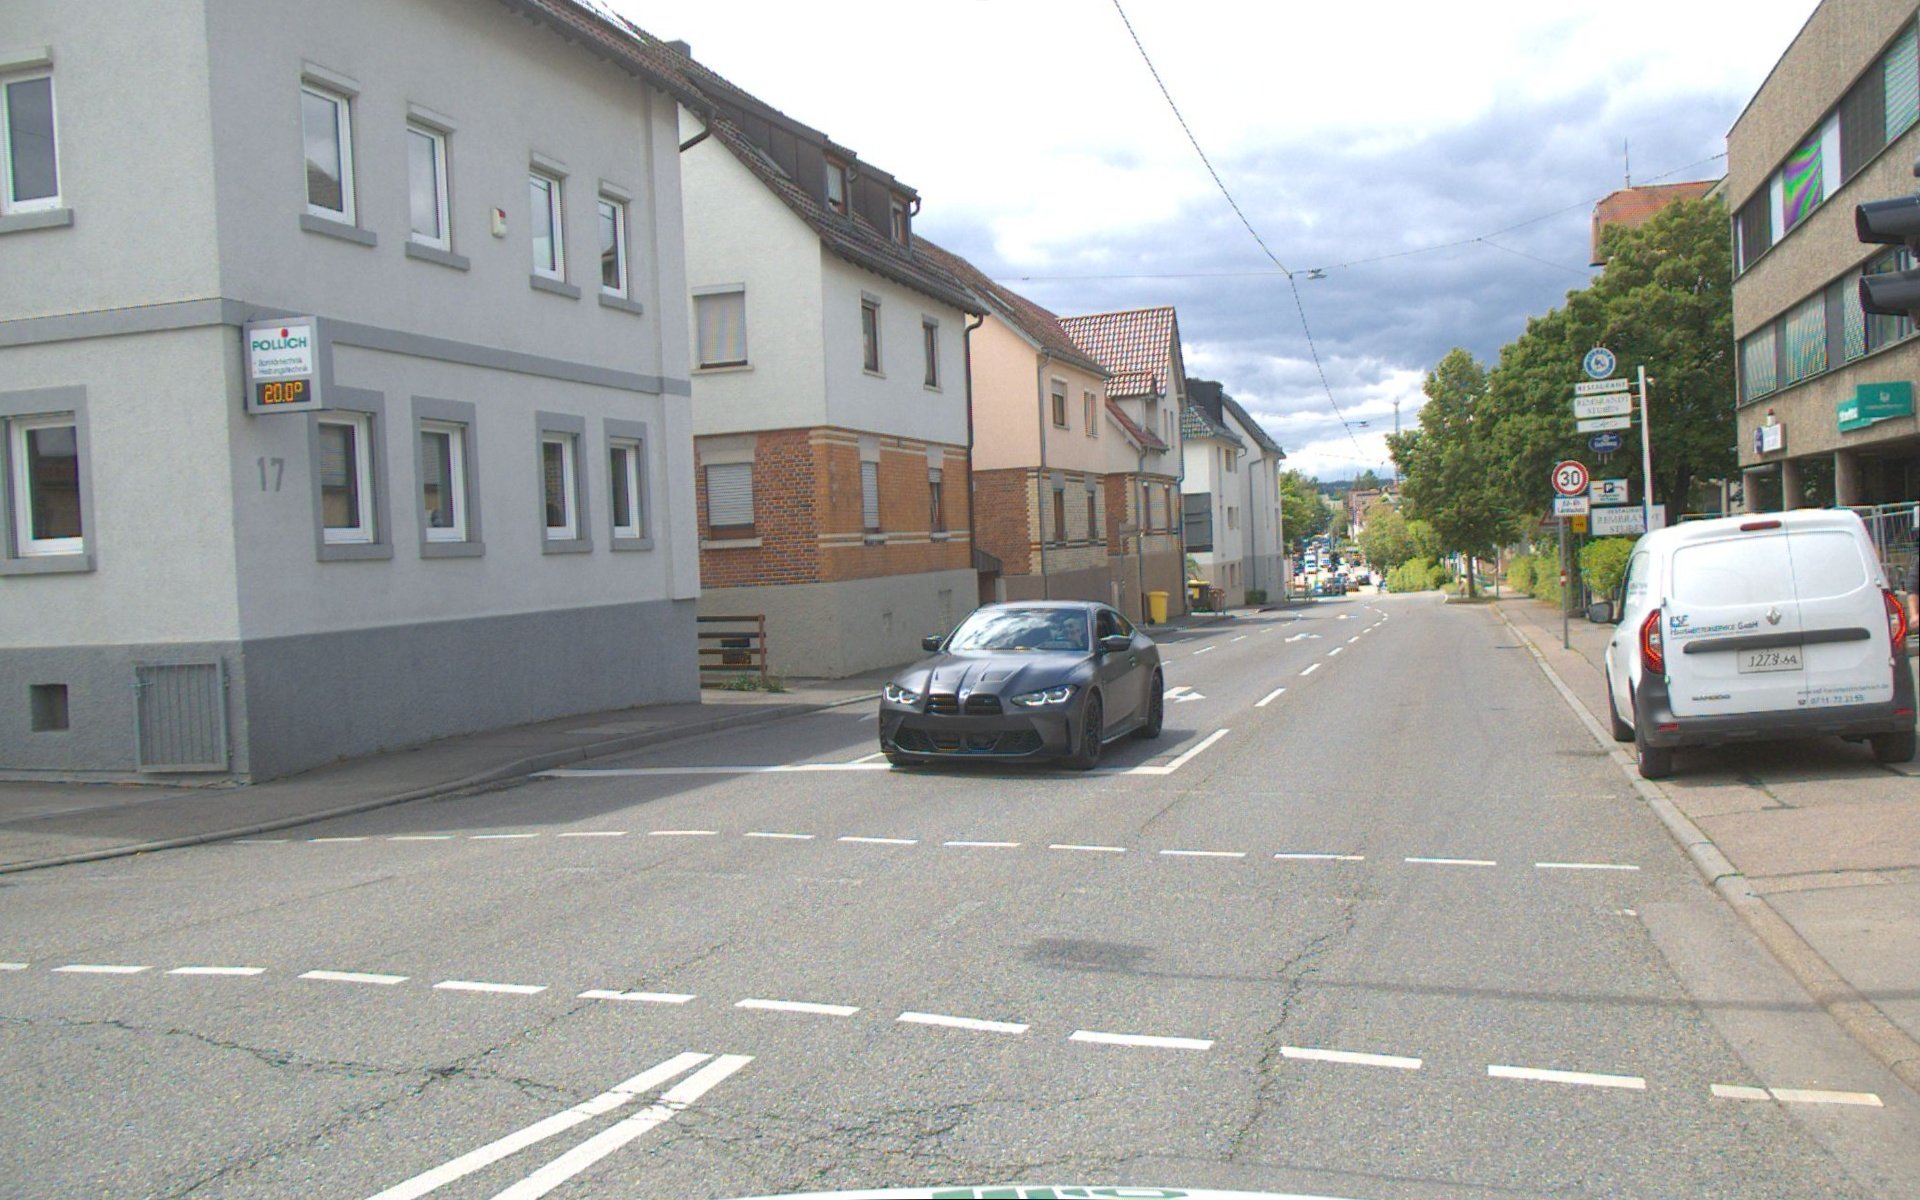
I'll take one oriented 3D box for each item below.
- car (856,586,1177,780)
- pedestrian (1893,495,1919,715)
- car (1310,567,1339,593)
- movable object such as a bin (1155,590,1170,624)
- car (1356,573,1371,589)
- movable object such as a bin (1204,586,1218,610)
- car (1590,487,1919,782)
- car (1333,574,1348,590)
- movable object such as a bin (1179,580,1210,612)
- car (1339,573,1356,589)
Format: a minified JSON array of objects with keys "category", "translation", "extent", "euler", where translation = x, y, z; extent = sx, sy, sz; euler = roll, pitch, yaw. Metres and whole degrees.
[{"category":"car","translation":[0.726,0.651,15.634],"extent":[1.951,1.482,4.621],"euler":[0,1,16]},{"category":"pedestrian","translation":[8.440,0.030,13.970],"extent":[0.825,1.834,0.651],"euler":[-1,1,16]},{"category":"car","translation":[30.063,-1.623,136.488],"extent":[1.951,2.049,4.003],"euler":[-2,0,8]},{"category":"movable object such as a bin","translation":[6.968,0.232,56.981],"extent":[0.422,1.147,0.299],"euler":[-3,0,15]},{"category":"car","translation":[57.214,-2.674,234.661],"extent":[1.951,2.049,4.003],"euler":[-3,-1,12]},{"category":"movable object such as a bin","translation":[11.164,-0.089,73.576],"extent":[0.520,1.048,0.455],"euler":[-2,0,15]},{"category":"car","translation":[6.271,0.200,13.238],"extent":[1.871,1.825,4.493],"euler":[-6,-1,17]},{"category":"car","translation":[53.085,-2.488,230.819],"extent":[1.951,2.049,4.003],"euler":[-3,-1,12]},{"category":"movable object such as a bin","translation":[10.293,-0.187,72.666],"extent":[1.254,1.332,0.817],"euler":[-2,0,11]},{"category":"car","translation":[51.793,-2.514,221.068],"extent":[1.951,2.049,4.003],"euler":[-3,-1,12]}]
